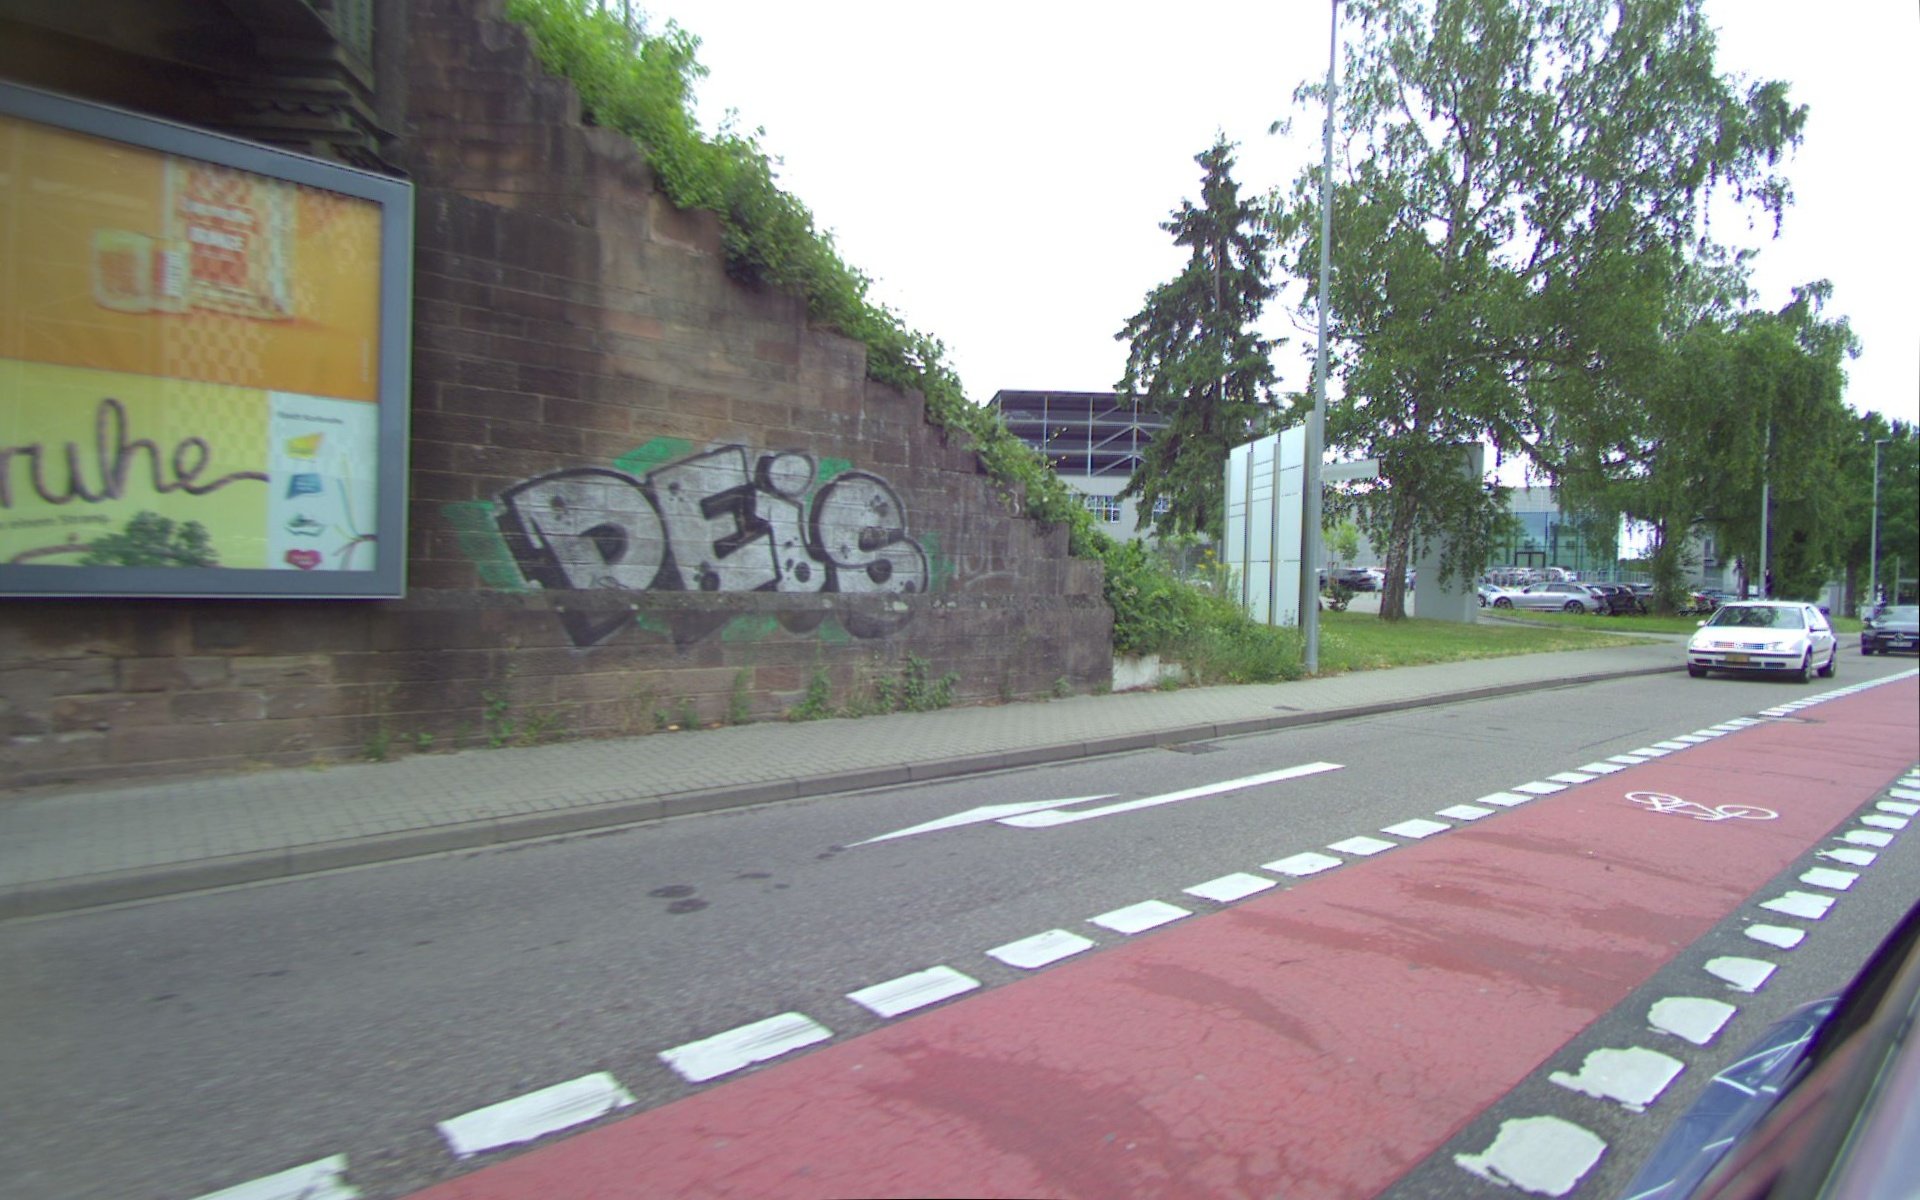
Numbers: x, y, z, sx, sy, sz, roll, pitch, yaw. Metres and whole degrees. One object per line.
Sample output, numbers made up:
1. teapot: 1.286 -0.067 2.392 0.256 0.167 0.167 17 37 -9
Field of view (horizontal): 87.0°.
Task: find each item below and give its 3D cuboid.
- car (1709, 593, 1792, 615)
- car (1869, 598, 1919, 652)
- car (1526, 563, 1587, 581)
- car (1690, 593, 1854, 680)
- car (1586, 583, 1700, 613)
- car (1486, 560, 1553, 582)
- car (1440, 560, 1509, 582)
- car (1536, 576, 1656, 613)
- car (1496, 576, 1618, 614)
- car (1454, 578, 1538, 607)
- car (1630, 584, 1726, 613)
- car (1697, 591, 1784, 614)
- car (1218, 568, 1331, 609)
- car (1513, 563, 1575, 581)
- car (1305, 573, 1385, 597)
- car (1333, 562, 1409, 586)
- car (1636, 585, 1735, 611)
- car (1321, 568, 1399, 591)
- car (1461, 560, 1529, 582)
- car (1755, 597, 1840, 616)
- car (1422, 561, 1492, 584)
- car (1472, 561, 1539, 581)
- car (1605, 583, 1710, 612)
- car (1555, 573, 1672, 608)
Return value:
1. car: 52.711 0.272 67.518 1.763 1.395 4.053 1 -1 -40
2. car: 27.317 0.690 28.701 3.930 1.442 1.835 1 0 -41
3. car: 52.498 -2.442 89.124 1.801 1.381 4.302 1 -1 -42
4. car: 15.171 0.623 18.850 3.872 1.442 1.725 1 0 -41
5. car: 33.456 -0.079 49.663 1.868 1.400 4.306 1 -1 -39
6. car: 45.096 -2.345 81.649 1.861 1.612 4.307 1 -1 -39
7. car: 39.118 -2.187 76.973 1.801 1.545 4.302 1 -1 -42
8. car: 29.226 -0.206 46.581 1.935 1.621 4.302 1 -1 -42
9. car: 26.061 -0.232 44.247 4.299 1.508 1.712 2 1 44
10. car: 34.187 -0.511 64.622 1.869 1.647 4.305 3 0 -41
11. car: 37.451 -0.052 52.864 1.919 1.441 3.756 1 -1 -41
12. car: 50.868 0.186 66.015 1.708 1.450 4.195 1 -1 -40
13. car: 13.740 -0.535 44.353 4.299 1.608 1.938 4 3 44
14. car: 50.402 -2.406 87.374 1.801 1.381 4.302 1 -1 -42
15. car: 24.017 -0.912 63.244 1.801 1.391 4.302 1 -1 -42
16. car: 26.790 -1.684 66.090 1.671 1.400 4.302 1 -1 -42
17. car: 39.271 -0.088 54.841 1.868 1.371 4.000 1 -1 -39
18. car: 25.598 -1.300 64.811 1.801 1.306 4.302 1 -1 -42
19. car: 41.373 -2.251 78.261 1.801 1.531 4.302 1 -1 -42
20. car: 63.933 0.497 77.285 1.868 1.442 4.759 1 -1 -40
21. car: 36.896 -2.022 75.166 1.827 1.546 4.302 1 -1 -42
22. car: 43.080 -2.258 79.961 1.833 1.451 4.302 1 -1 -42
23. car: 35.195 -0.096 51.136 1.777 1.396 4.004 1 -1 -38
24. car: 31.223 -0.414 48.452 1.934 1.621 4.306 1 -1 -39
